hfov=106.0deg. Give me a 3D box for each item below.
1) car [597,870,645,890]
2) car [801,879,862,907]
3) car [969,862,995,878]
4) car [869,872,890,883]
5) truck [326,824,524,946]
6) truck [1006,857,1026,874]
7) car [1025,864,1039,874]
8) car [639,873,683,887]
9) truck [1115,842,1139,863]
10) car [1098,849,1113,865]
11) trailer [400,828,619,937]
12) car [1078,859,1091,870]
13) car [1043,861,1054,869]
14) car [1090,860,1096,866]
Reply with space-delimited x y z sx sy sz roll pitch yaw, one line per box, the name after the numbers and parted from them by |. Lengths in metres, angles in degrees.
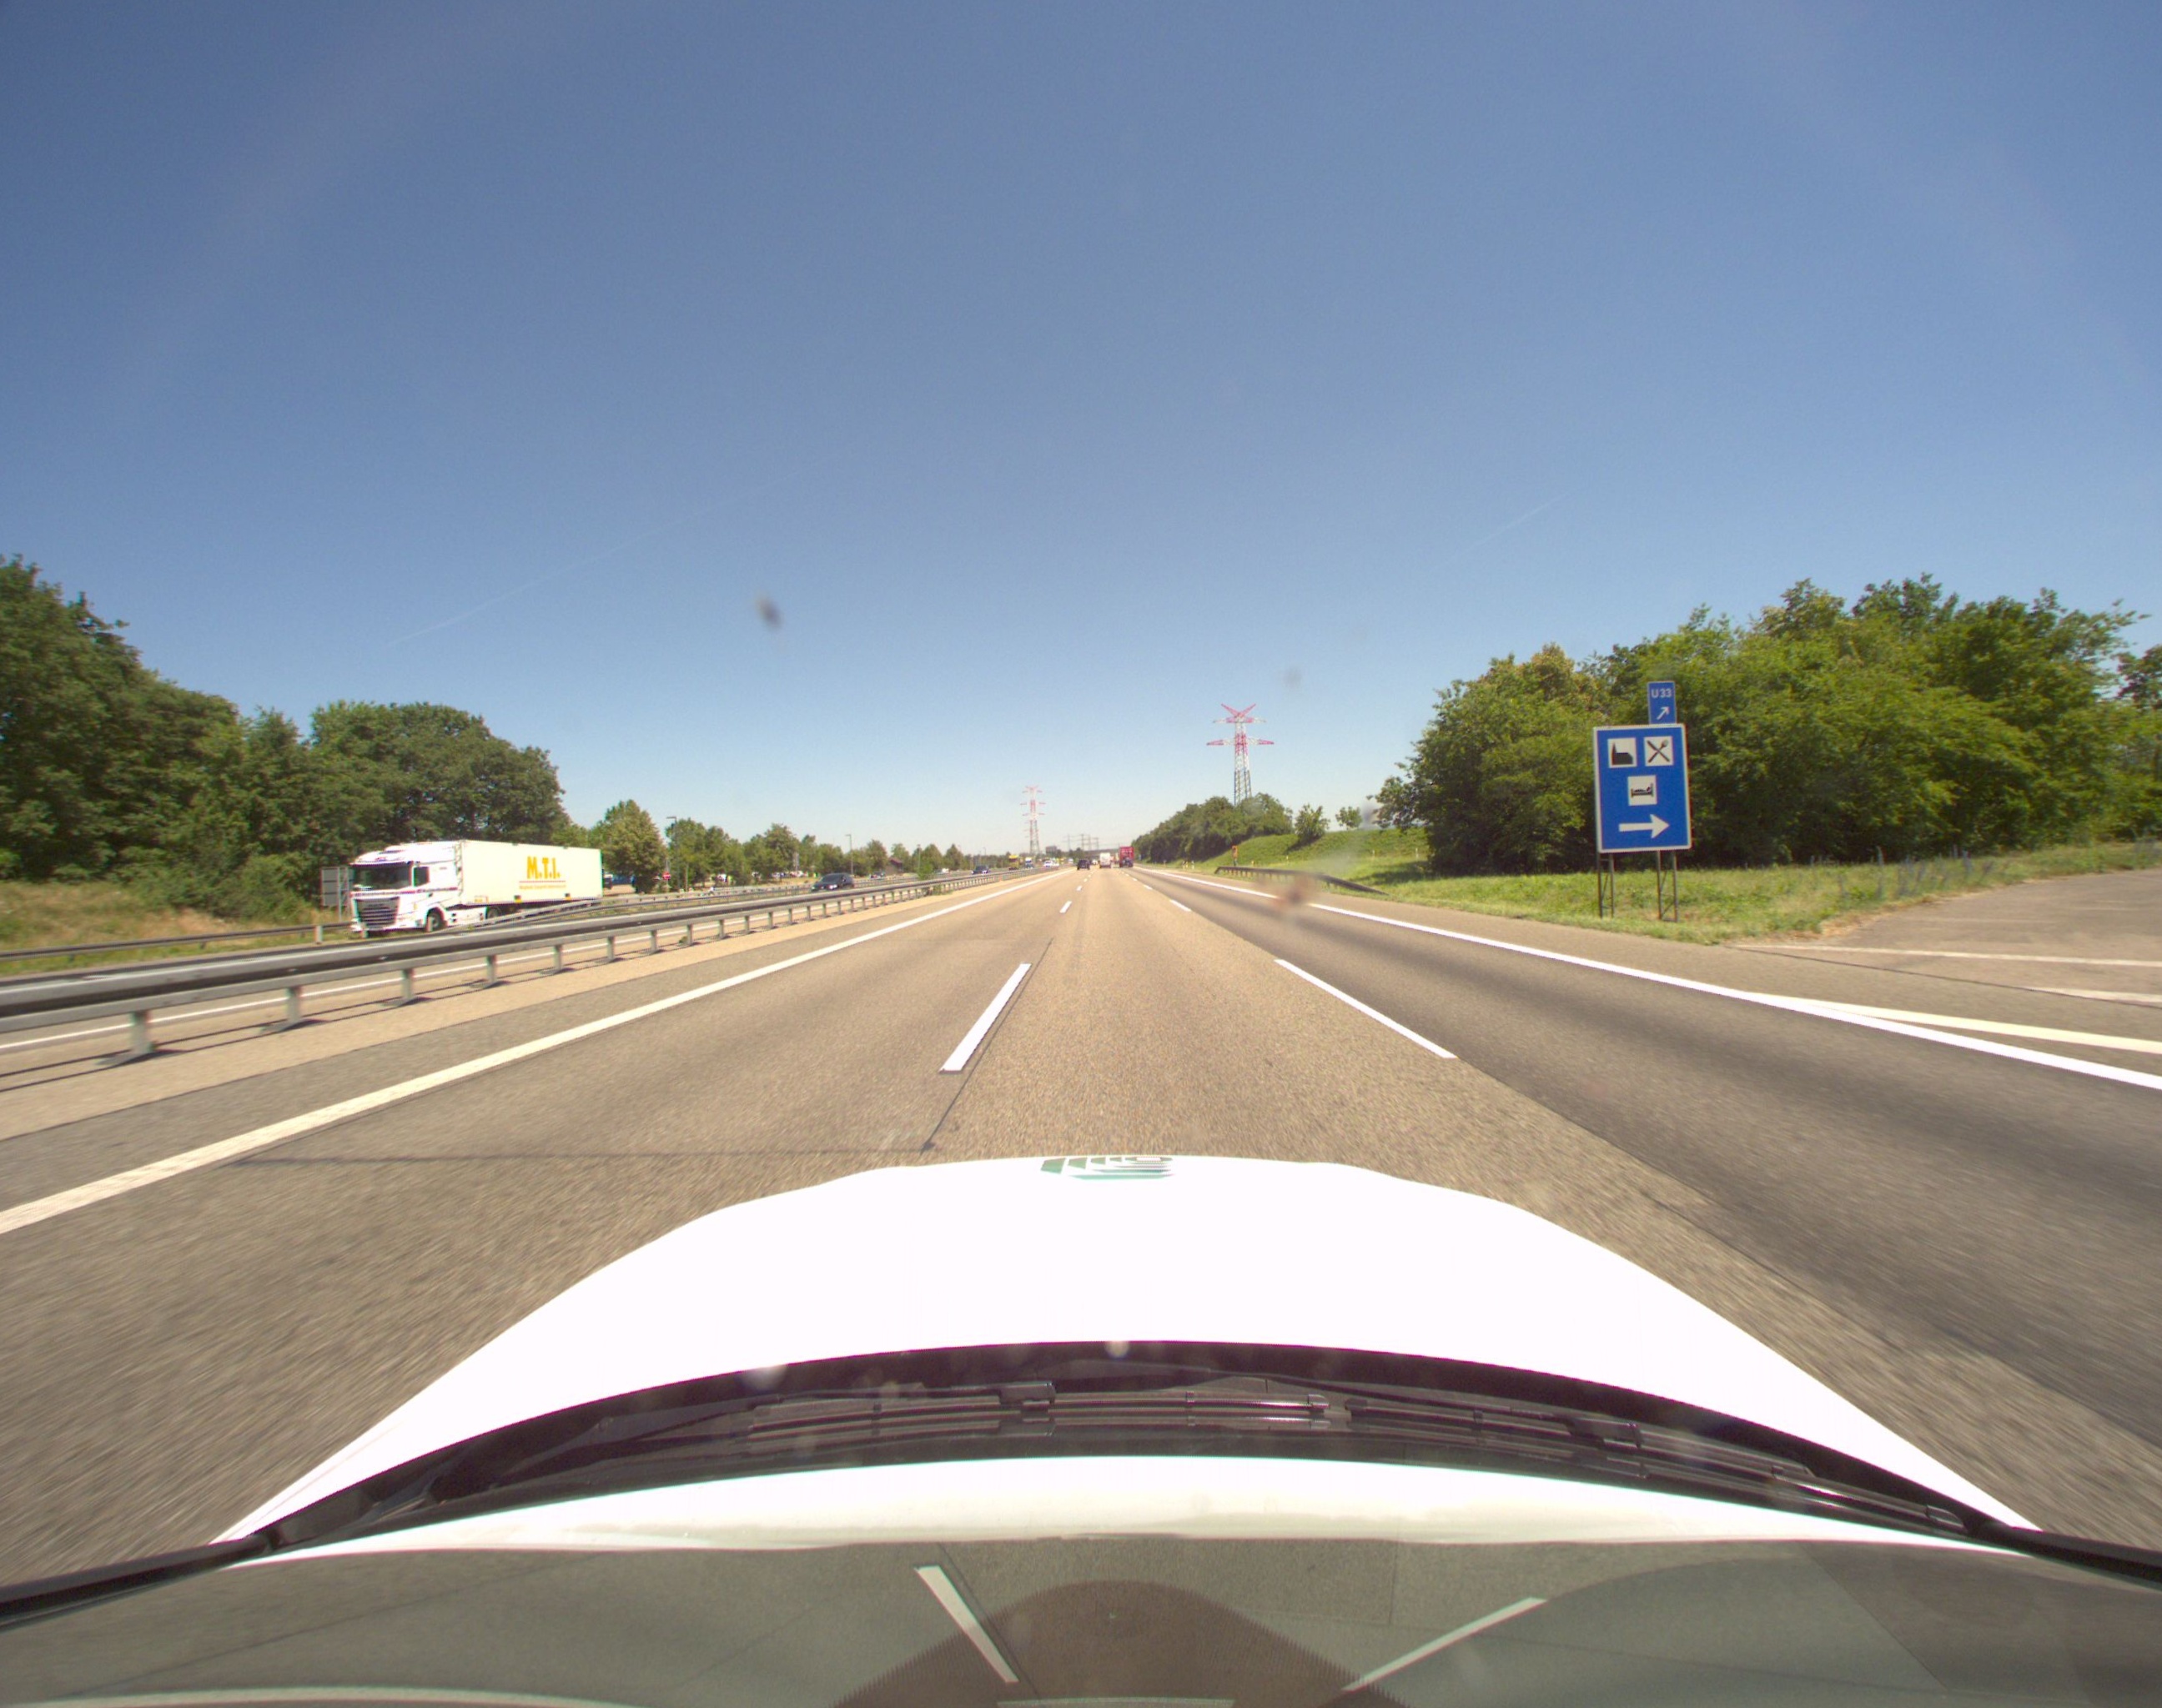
-69.800 3.909 123.628 6.232 2.749 2.451 0 -1 -36 | car
-15.880 2.454 52.039 2.220 1.380 4.891 -4 0 1 | car
-11.011 1.798 90.905 2.045 1.551 4.891 -4 0 1 | car
-32.559 3.766 131.669 2.045 1.551 4.891 -4 0 1 | car
-29.804 1.313 37.584 3.067 4.827 7.700 -5 0 -5 | truck
-15.527 2.711 195.405 3.159 3.810 13.535 -2 -1 2 | truck
-9.060 2.743 150.216 2.045 1.551 4.891 -4 0 1 | car
-69.838 4.302 135.539 6.232 2.124 2.451 0 -1 -36 | car
9.156 -0.168 163.192 4.315 3.942 16.083 -1 0 2 | truck
4.414 0.490 145.646 2.611 2.759 6.097 -1 0 1 | car
-30.385 1.367 44.638 3.067 4.827 13.738 -5 0 -5 | trailer
0.520 1.652 129.721 1.986 1.750 4.001 -1 0 1 | car
-7.475 2.529 189.232 2.045 1.842 5.943 -2 -1 1 | car
3.279 2.440 225.224 1.741 1.634 4.004 -1 0 1 | car
